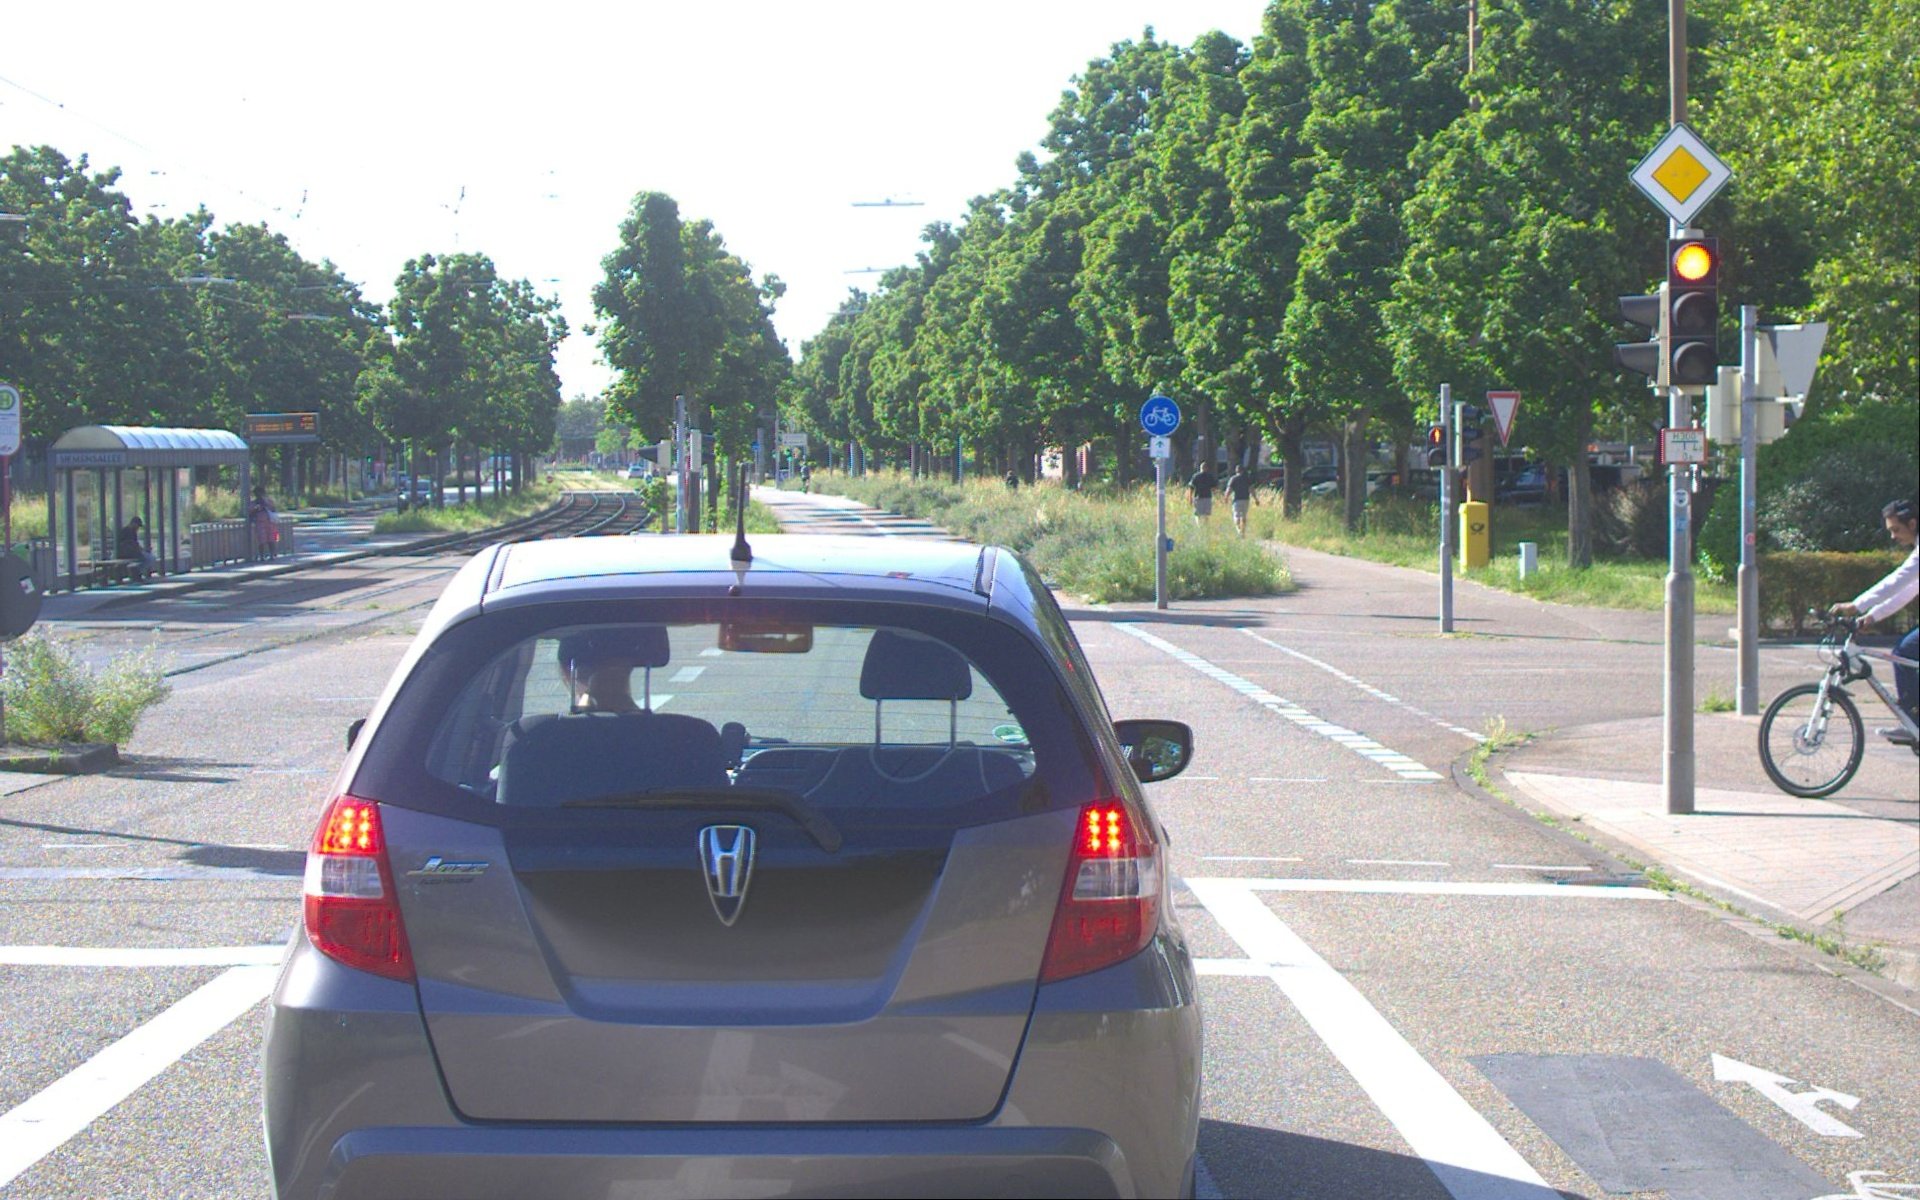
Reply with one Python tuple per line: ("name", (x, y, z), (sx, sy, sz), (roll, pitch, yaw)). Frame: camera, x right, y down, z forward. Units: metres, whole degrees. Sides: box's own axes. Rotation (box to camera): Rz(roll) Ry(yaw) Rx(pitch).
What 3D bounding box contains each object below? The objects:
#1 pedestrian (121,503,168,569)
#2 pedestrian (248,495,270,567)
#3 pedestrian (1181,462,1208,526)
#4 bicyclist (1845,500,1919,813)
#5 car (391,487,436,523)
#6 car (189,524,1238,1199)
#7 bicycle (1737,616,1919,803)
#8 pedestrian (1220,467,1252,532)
("pedestrian", (-15.567, -1.233, 65.626), (0.721, 1.241, 0.711), (-1, 1, -2))
("pedestrian", (-16.343, -1.613, 80.179), (0.502, 1.670, 0.388), (0, 1, -12))
("pedestrian", (5.872, -2.648, 86.080), (0.567, 1.591, 0.666), (1, 1, -4))
("bicyclist", (5.526, 0.305, 19.455), (0.910, 1.739, 0.764), (-1, 1, 10))
("car", (-26.982, -4.669, 169.797), (1.766, 1.732, 4.001), (0, 1, -3))
("car", (-0.407, 0.596, 7.632), (1.707, 1.503, 4.000), (1, 1, 0))
("bicycle", (5.422, 0.599, 19.476), (1.921, 0.994, 0.764), (-2, 0, 10))
("pedestrian", (6.904, -2.513, 86.076), (0.678, 1.604, 0.721), (1, 1, -3))
